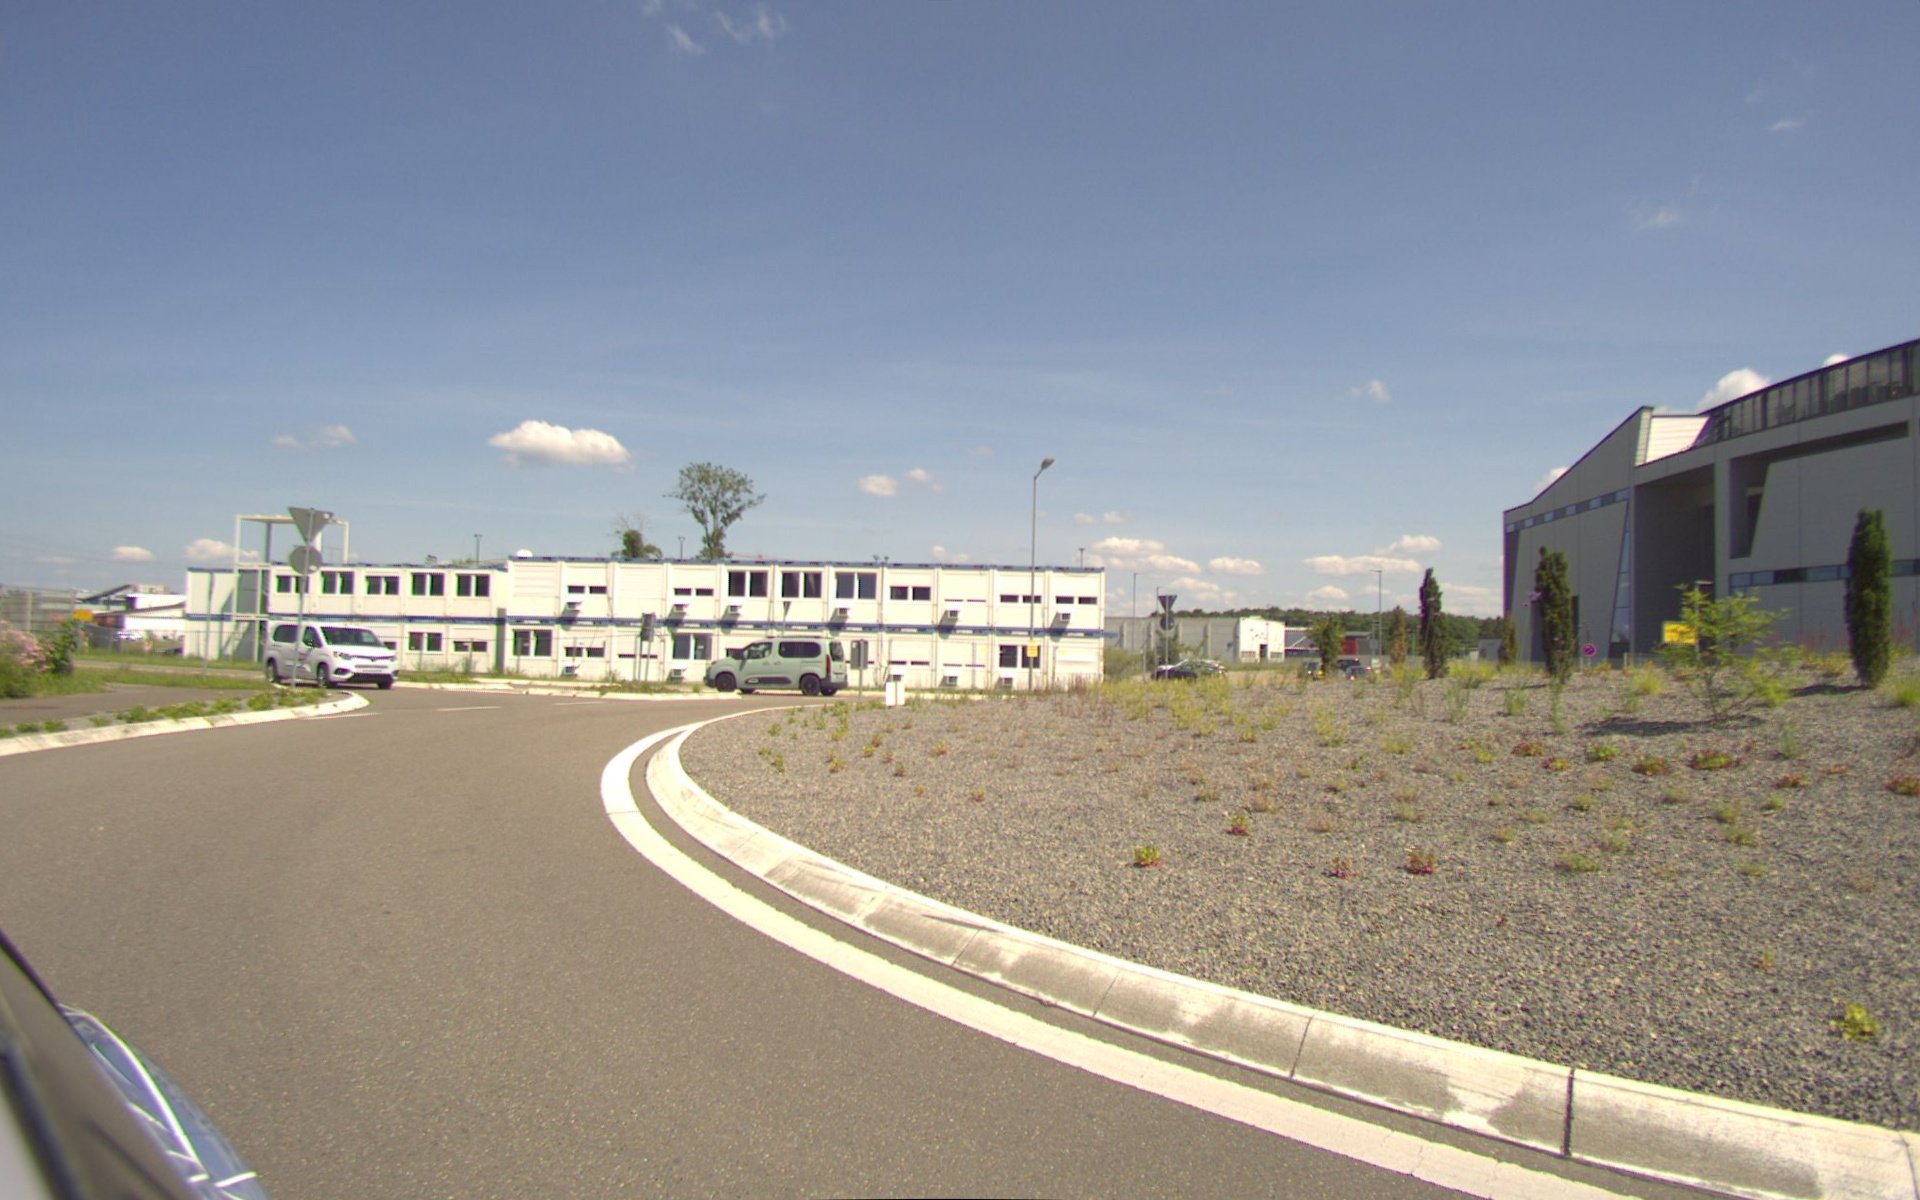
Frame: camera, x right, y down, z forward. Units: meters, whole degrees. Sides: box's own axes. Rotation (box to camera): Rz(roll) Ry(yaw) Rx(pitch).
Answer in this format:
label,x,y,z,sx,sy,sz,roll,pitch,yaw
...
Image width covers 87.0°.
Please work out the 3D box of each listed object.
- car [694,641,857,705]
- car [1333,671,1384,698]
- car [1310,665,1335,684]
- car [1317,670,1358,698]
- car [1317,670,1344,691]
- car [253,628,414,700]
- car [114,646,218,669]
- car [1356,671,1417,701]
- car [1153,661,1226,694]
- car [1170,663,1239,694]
label,x,y,z,sx,sy,sz,roll,pitch,yaw
car,-5.655,2.235,31.308,4.512,1.793,1.993,1,-4,11
car,26.042,5.499,66.320,1.975,1.561,4.307,1,-3,5
car,31.448,6.439,87.846,1.985,1.561,4.285,0,-3,20
car,27.205,6.008,73.038,1.978,1.845,4.299,0,-3,10
car,30.332,6.543,82.928,1.985,1.561,4.285,0,-3,20
car,-17.422,1.723,28.079,4.814,1.820,1.818,-1,-3,32
car,-51.061,3.706,65.218,1.987,1.428,4.947,-1,-4,22
car,25.001,4.993,59.445,1.974,1.561,4.308,1,-3,4
car,14.245,4.779,62.685,4.278,1.881,1.988,0,-3,18
car,15.967,5.083,66.126,4.278,1.881,1.988,0,-3,18
